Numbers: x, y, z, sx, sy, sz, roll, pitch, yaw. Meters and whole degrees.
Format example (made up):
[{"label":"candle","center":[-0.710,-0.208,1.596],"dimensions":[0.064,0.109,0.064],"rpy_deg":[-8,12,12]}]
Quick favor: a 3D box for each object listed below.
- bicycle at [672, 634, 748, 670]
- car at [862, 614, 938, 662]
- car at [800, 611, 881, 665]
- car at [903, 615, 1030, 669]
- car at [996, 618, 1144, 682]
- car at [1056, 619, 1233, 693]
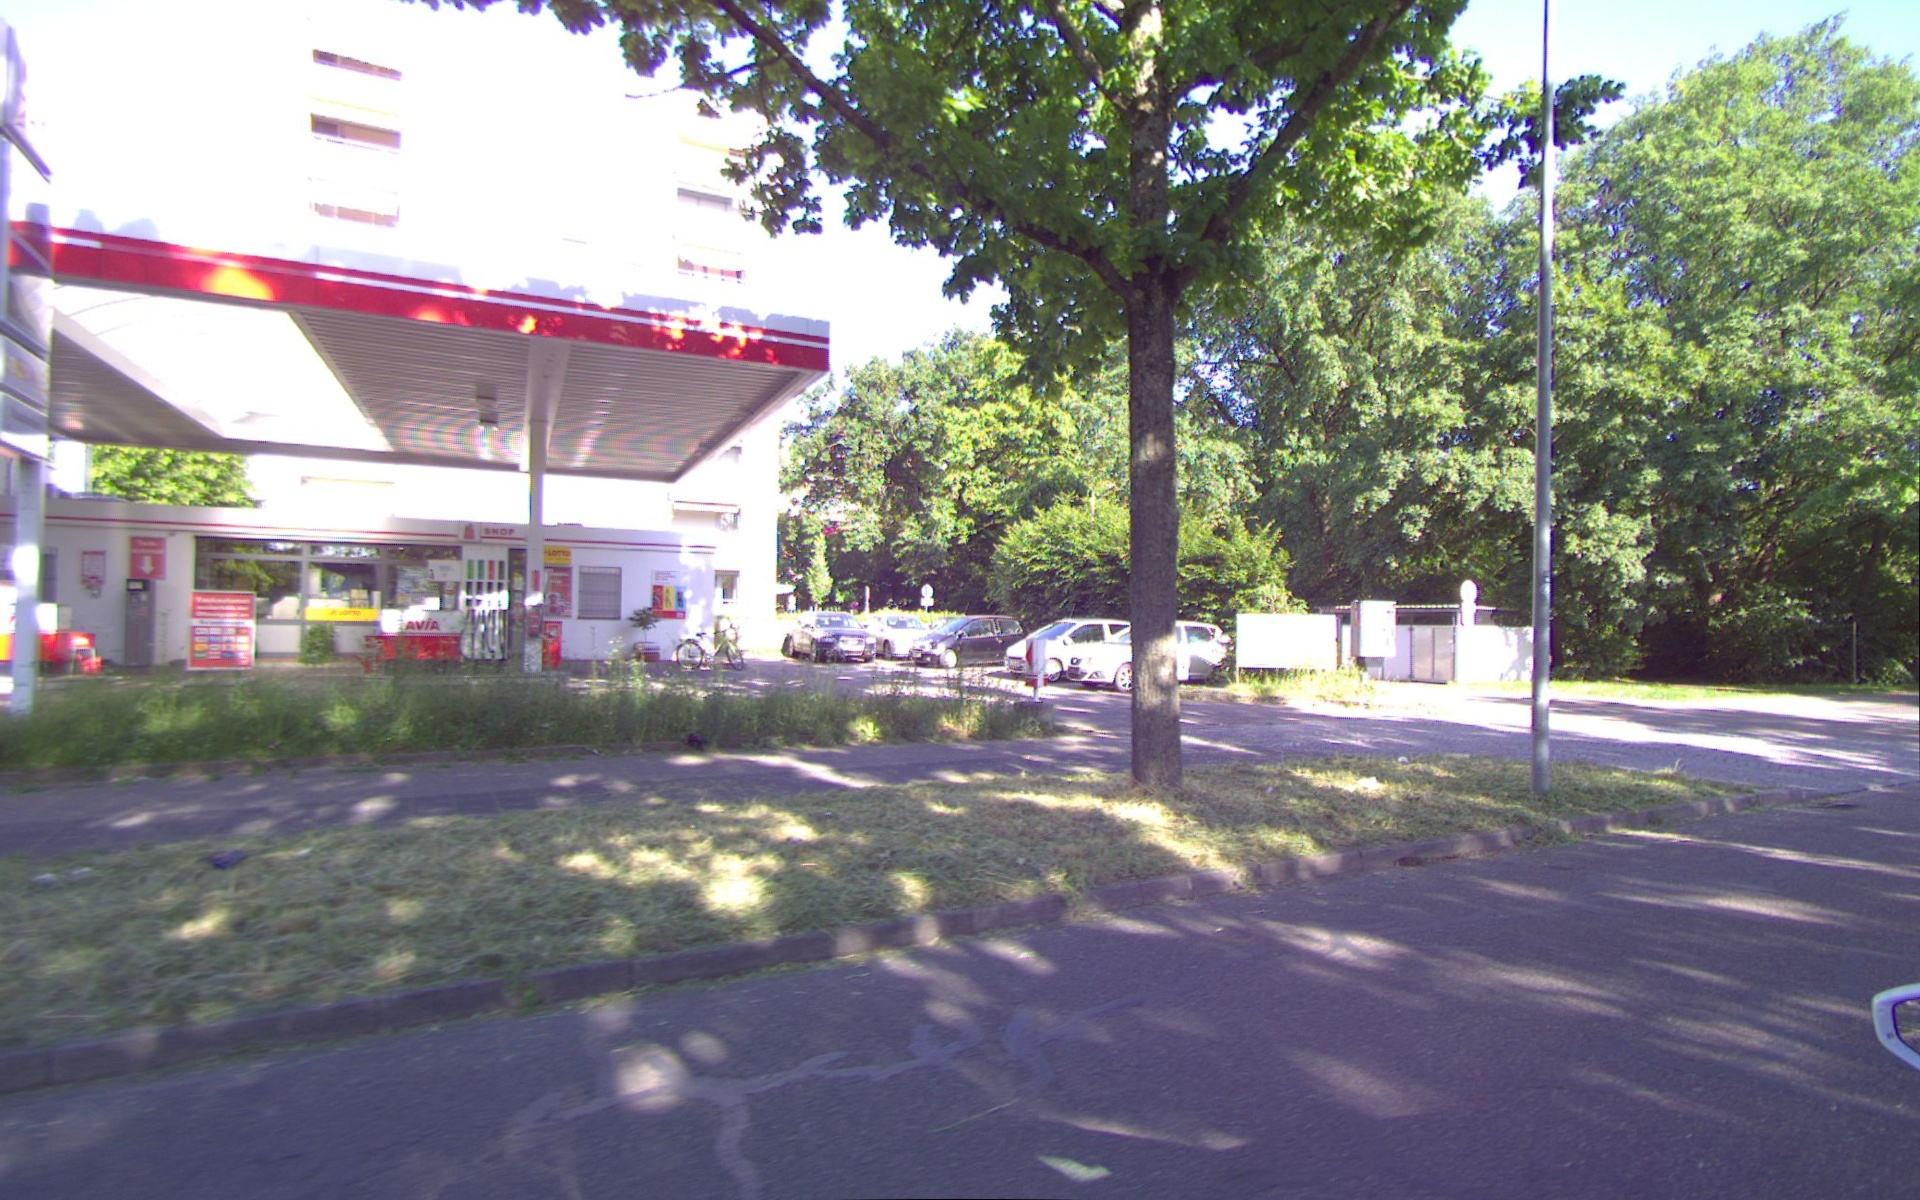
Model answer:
[{"label":"bicycle","center":[-6.067,1.263,24.420],"dimensions":[1.751,0.818,0.617],"rpy_deg":[2,-1,-16]},{"label":"car","center":[-1.931,1.163,31.532],"dimensions":[1.438,1.335,3.188],"rpy_deg":[2,0,-22]},{"label":"car","center":[-3.569,1.079,29.647],"dimensions":[1.562,1.419,3.188],"rpy_deg":[2,0,-22]},{"label":"car","center":[0.181,1.152,27.603],"dimensions":[3.159,1.386,1.419],"rpy_deg":[2,0,-23]},{"label":"car","center":[2.595,1.181,23.749],"dimensions":[3.159,1.386,1.419],"rpy_deg":[2,0,-23]},{"label":"car","center":[3.955,1.196,21.574],"dimensions":[3.437,1.441,1.543],"rpy_deg":[2,0,-23]}]
